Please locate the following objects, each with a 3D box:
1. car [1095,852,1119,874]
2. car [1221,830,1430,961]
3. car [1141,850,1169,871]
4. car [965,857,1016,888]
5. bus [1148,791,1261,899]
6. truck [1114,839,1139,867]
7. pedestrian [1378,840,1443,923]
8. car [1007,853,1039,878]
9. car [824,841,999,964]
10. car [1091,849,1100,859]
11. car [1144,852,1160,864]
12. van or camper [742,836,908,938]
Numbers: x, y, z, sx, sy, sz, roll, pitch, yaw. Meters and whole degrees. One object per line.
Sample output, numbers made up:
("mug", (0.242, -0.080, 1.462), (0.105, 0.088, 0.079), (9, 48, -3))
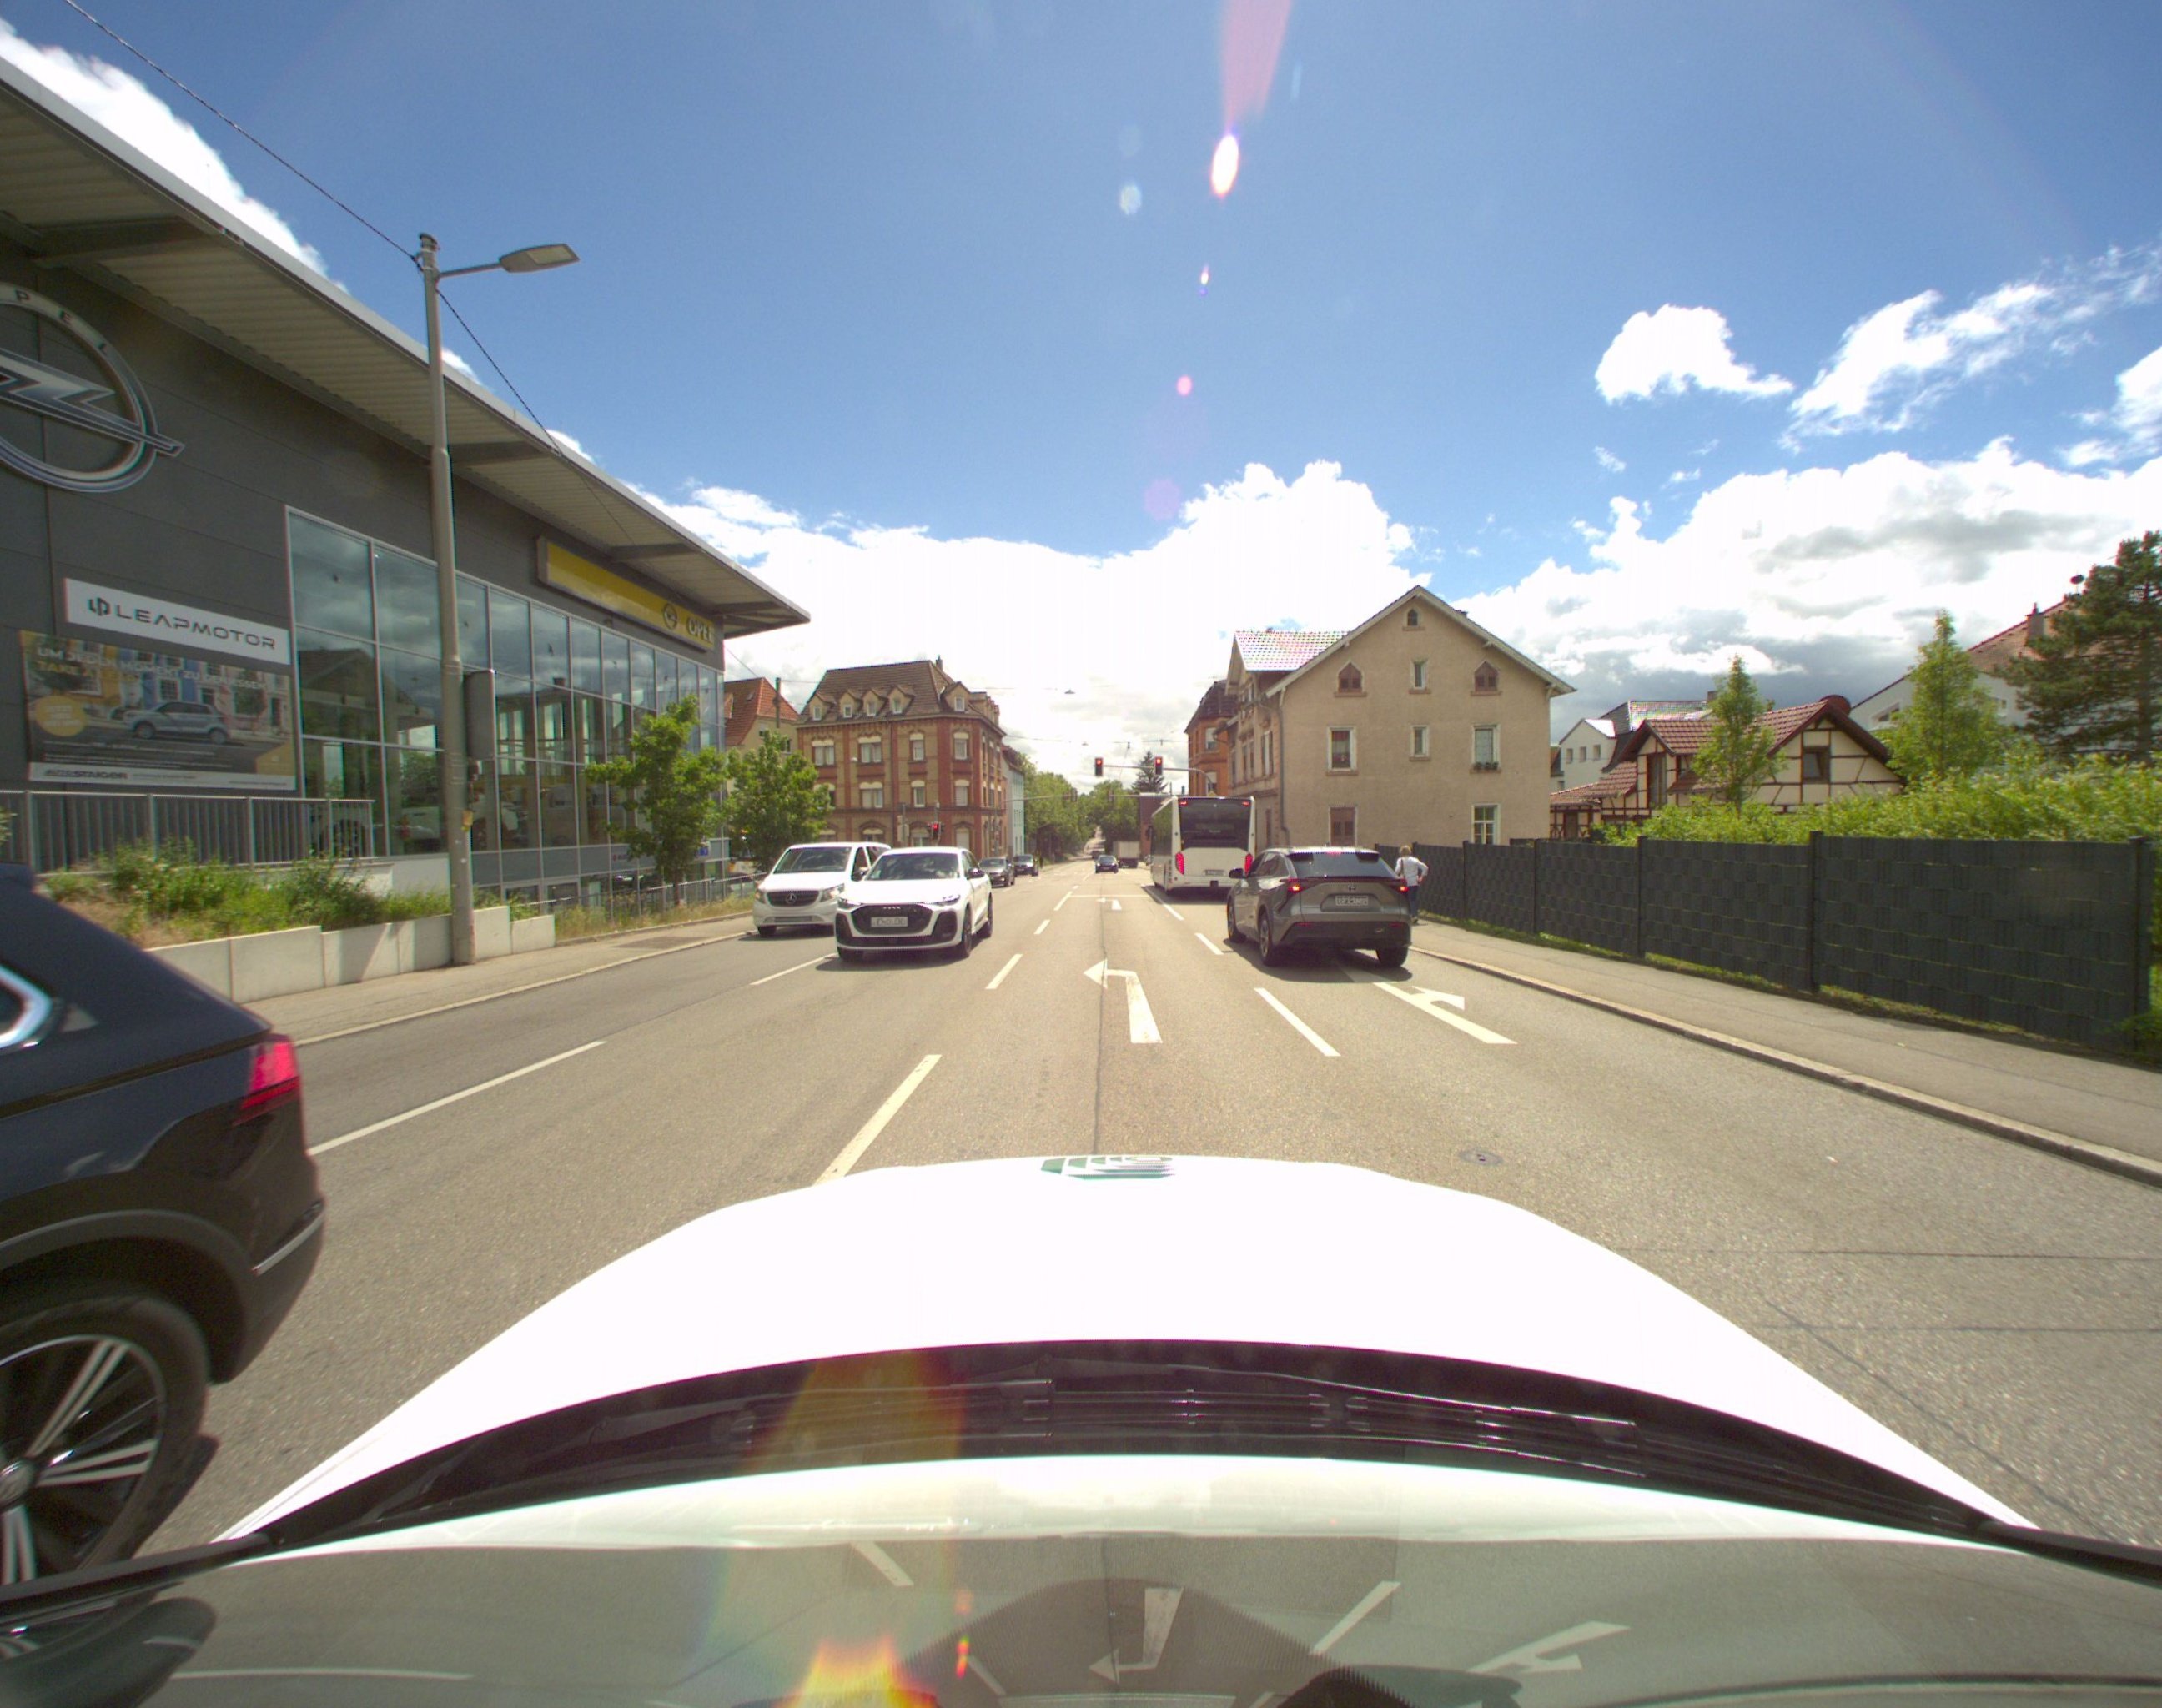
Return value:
("car", (2.060, 0.705, 65.991), (1.857, 1.666, 4.260), (-1, 0, 1))
("car", (3.376, 0.502, 12.135), (1.923, 1.583, 4.209), (-1, 0, 1))
("car", (5.985, 0.509, 66.167), (1.923, 1.583, 4.209), (-2, 0, 1))
("car", (-4.277, 0.853, 39.135), (1.857, 1.319, 4.260), (-1, 0, 1))
("bus", (4.196, -0.275, 30.493), (2.791, 3.198, 12.201), (1, 0, 2))
("truck", (5.550, -0.142, 100.170), (2.657, 3.107, 9.037), (-2, 0, 1))
("pedestrian", (6.566, 0.529, 16.294), (0.810, 1.581, 1.070), (-3, 0, 1))
("car", (-4.057, 0.763, 57.816), (1.857, 1.666, 4.260), (-1, 0, 1))
("car", (-2.532, 0.641, 13.277), (1.857, 1.656, 4.379), (-1, 0, 0))
("car", (3.261, -0.006, 183.105), (1.826, 1.881, 4.001), (-2, 2, 0))
("car", (10.103, 0.511, 115.847), (1.923, 1.583, 4.209), (-2, 0, 1))
("van or camper", (-5.460, 0.612, 18.212), (1.963, 1.914, 5.130), (-1, 0, 1))
